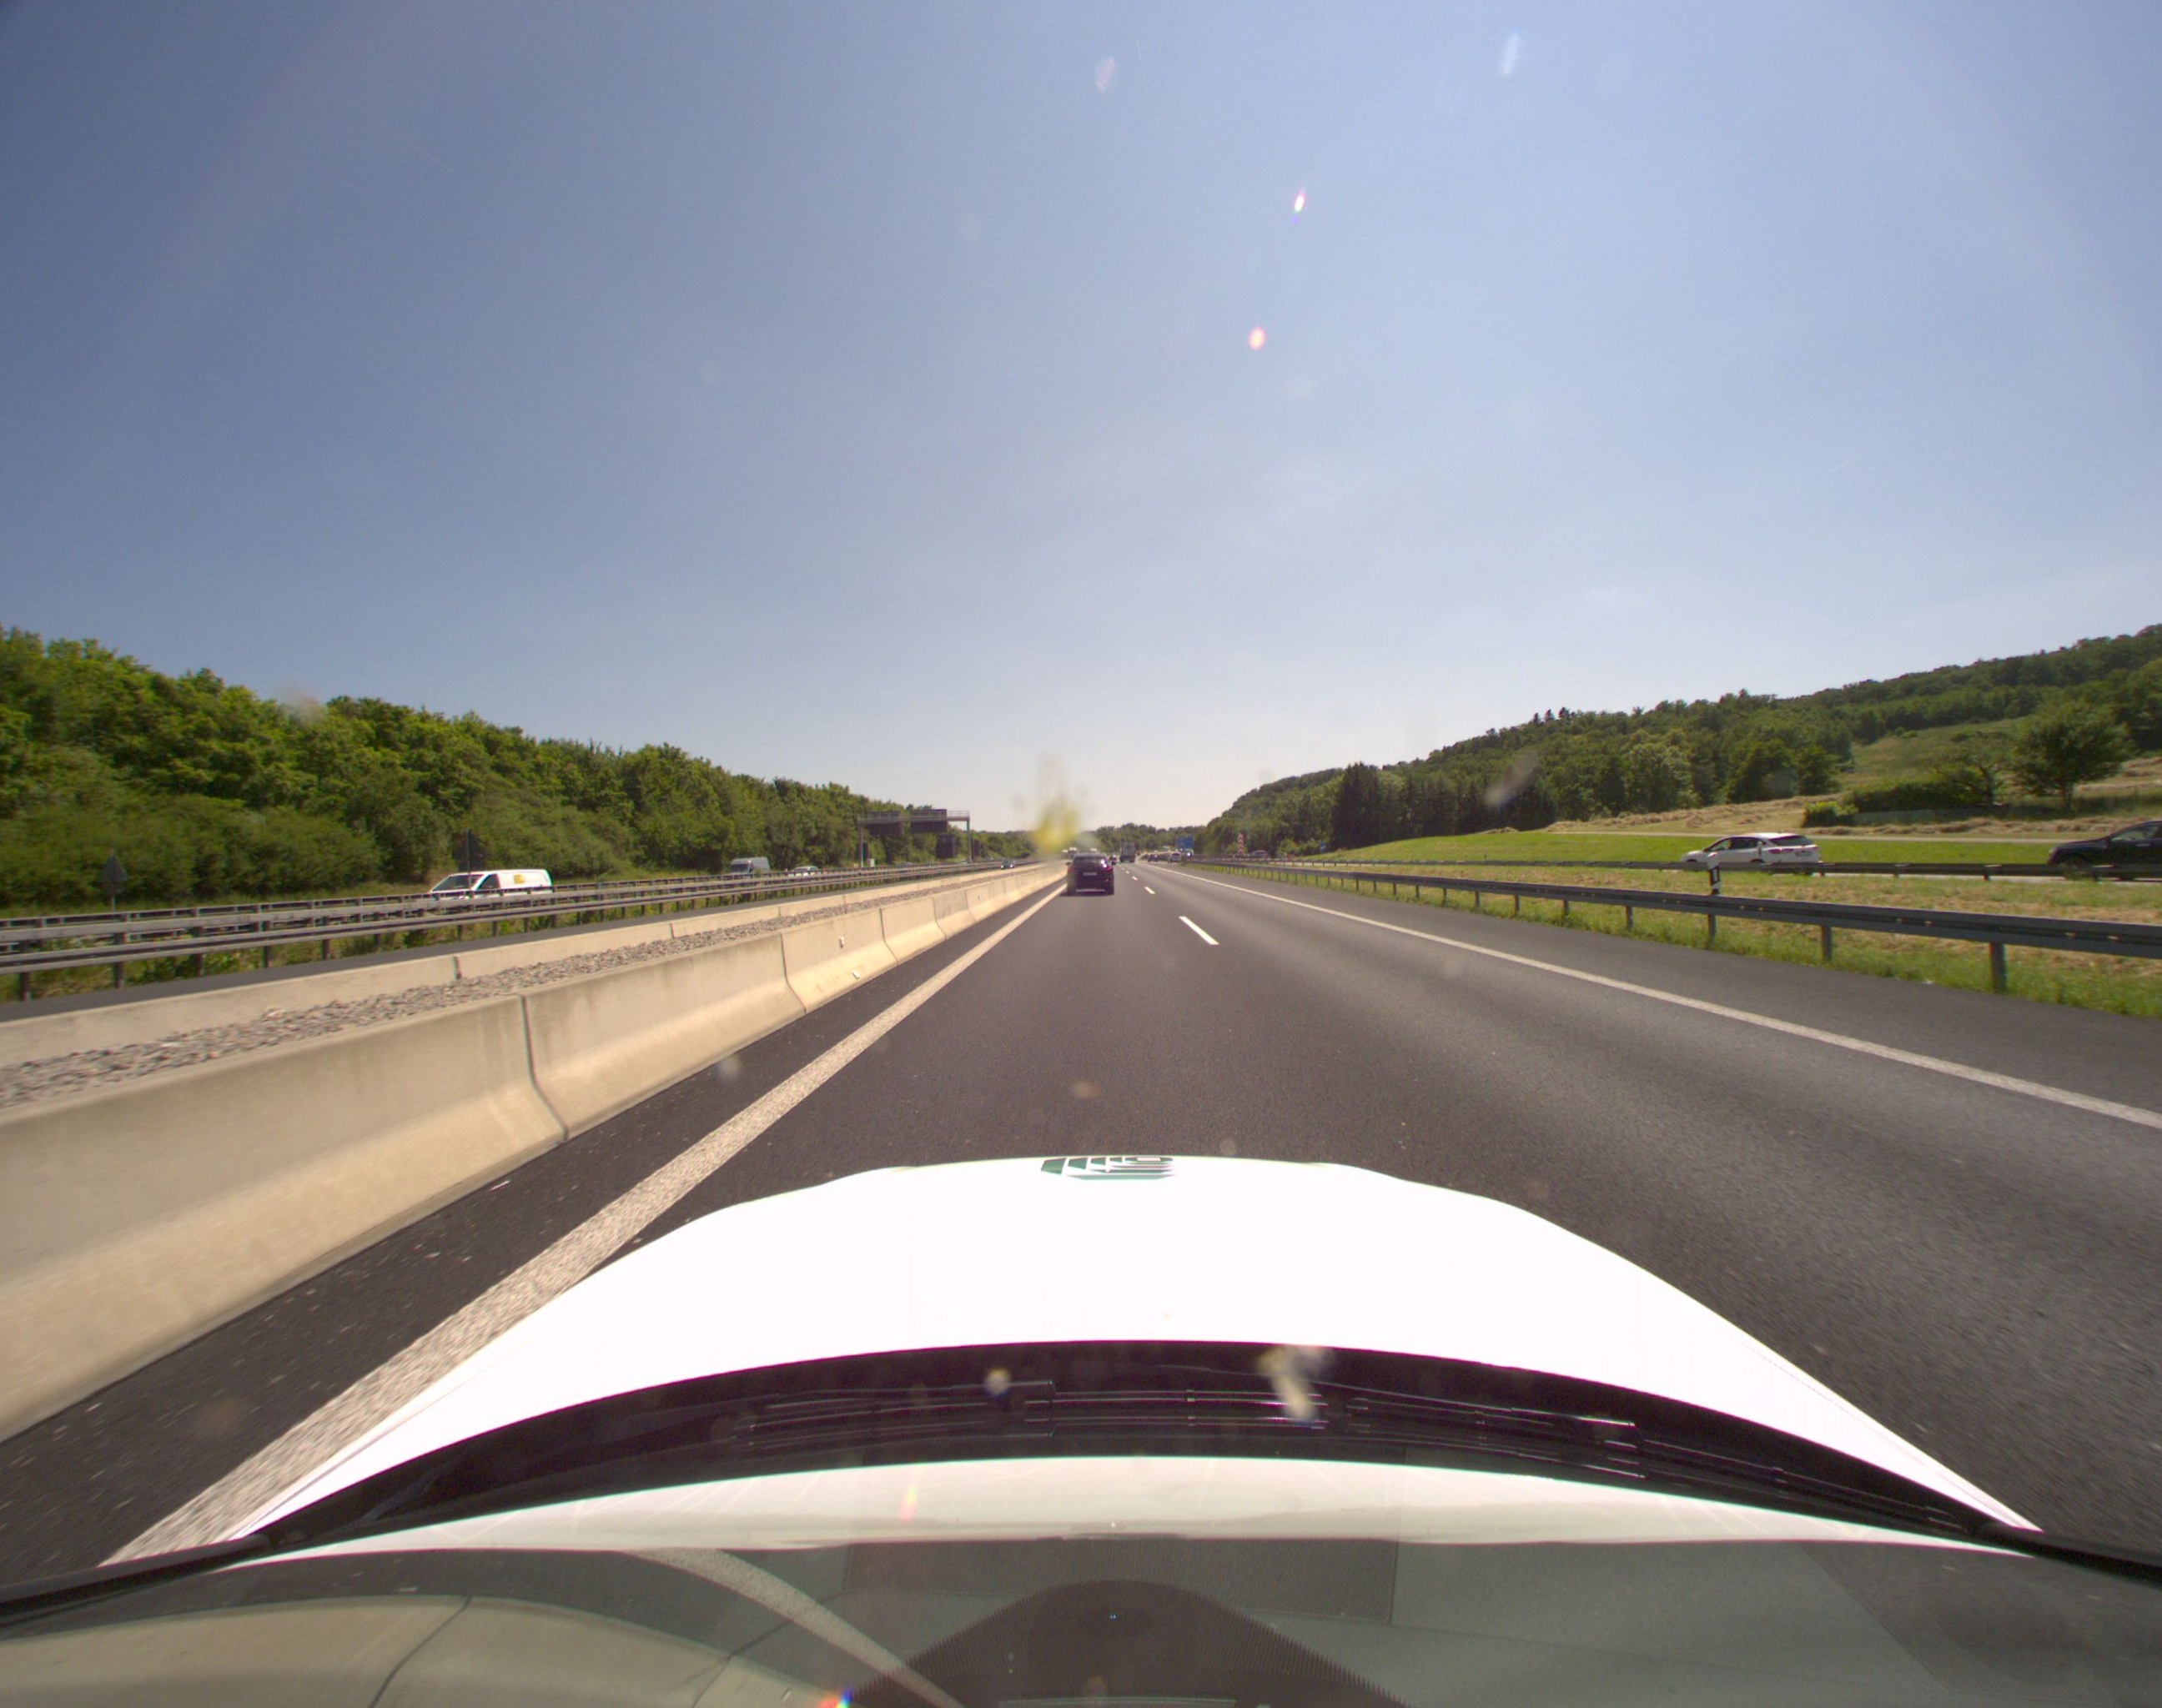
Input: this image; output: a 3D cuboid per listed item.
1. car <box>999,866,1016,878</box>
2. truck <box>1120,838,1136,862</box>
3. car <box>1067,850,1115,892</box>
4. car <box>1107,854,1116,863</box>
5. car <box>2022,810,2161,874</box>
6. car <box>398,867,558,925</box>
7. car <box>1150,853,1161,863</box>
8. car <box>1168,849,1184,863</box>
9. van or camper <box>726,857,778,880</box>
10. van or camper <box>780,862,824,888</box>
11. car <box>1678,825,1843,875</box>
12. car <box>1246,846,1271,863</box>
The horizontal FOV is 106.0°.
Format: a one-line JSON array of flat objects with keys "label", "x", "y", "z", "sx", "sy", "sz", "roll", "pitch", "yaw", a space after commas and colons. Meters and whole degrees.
[{"label": "car", "x": -9.182, "y": 2.232, "z": 102.456, "sx": 1.829, "sy": 1.534, "sz": 4.157, "roll": 0, "pitch": -1, "yaw": -1}, {"label": "truck", "x": 9.021, "y": -0.639, "z": 155.507, "sx": 3.019, "sy": 4.418, "sz": 12.029, "roll": 0, "pitch": -1, "yaw": 3}, {"label": "car", "x": 0.366, "y": 0.647, "z": 32.213, "sx": 1.774, "sy": 1.577, "sz": 3.998, "roll": 0, "pitch": -1, "yaw": -1}, {"label": "car", "x": 7.431, "y": 1.020, "z": 201.106, "sx": 2.130, "sy": 2.216, "sz": 5.089, "roll": 0, "pitch": -1, "yaw": 2}, {"label": "car", "x": 28.845, "y": -0.312, "z": 21.246, "sx": 1.989, "sy": 1.662, "sz": 5.620, "roll": 0, "pitch": -1, "yaw": -3}, {"label": "car", "x": -22.973, "y": 1.517, "z": 31.373, "sx": 1.986, "sy": 2.014, "sz": 5.351, "roll": 0, "pitch": -1, "yaw": 2}, {"label": "car", "x": 15.026, "y": 0.845, "z": 164.210, "sx": 1.983, "sy": 2.014, "sz": 4.006, "roll": 0, "pitch": -1, "yaw": 6}, {"label": "car", "x": 15.335, "y": 0.332, "z": 131.924, "sx": 1.987, "sy": 2.013, "sz": 3.999, "roll": -3, "pitch": 0, "yaw": 0}, {"label": "van or camper", "x": -28.680, "y": 1.231, "z": 71.223, "sx": 1.985, "sy": 1.798, "sz": 5.533, "roll": -2, "pitch": 0, "yaw": 3}, {"label": "van or camper", "x": -22.054, "y": 1.612, "z": 64.580, "sx": 1.986, "sy": 2.014, "sz": 4.001, "roll": 0, "pitch": -1, "yaw": 2}, {"label": "car", "x": 24.355, "y": -0.116, "z": 29.446, "sx": 1.992, "sy": 1.662, "sz": 4.456, "roll": 0, "pitch": -1, "yaw": -7}, {"label": "car", "x": 23.539, "y": 0.070, "z": 108.124, "sx": 1.990, "sy": 2.013, "sz": 3.993, "roll": -3, "pitch": 0, "yaw": -5}]
